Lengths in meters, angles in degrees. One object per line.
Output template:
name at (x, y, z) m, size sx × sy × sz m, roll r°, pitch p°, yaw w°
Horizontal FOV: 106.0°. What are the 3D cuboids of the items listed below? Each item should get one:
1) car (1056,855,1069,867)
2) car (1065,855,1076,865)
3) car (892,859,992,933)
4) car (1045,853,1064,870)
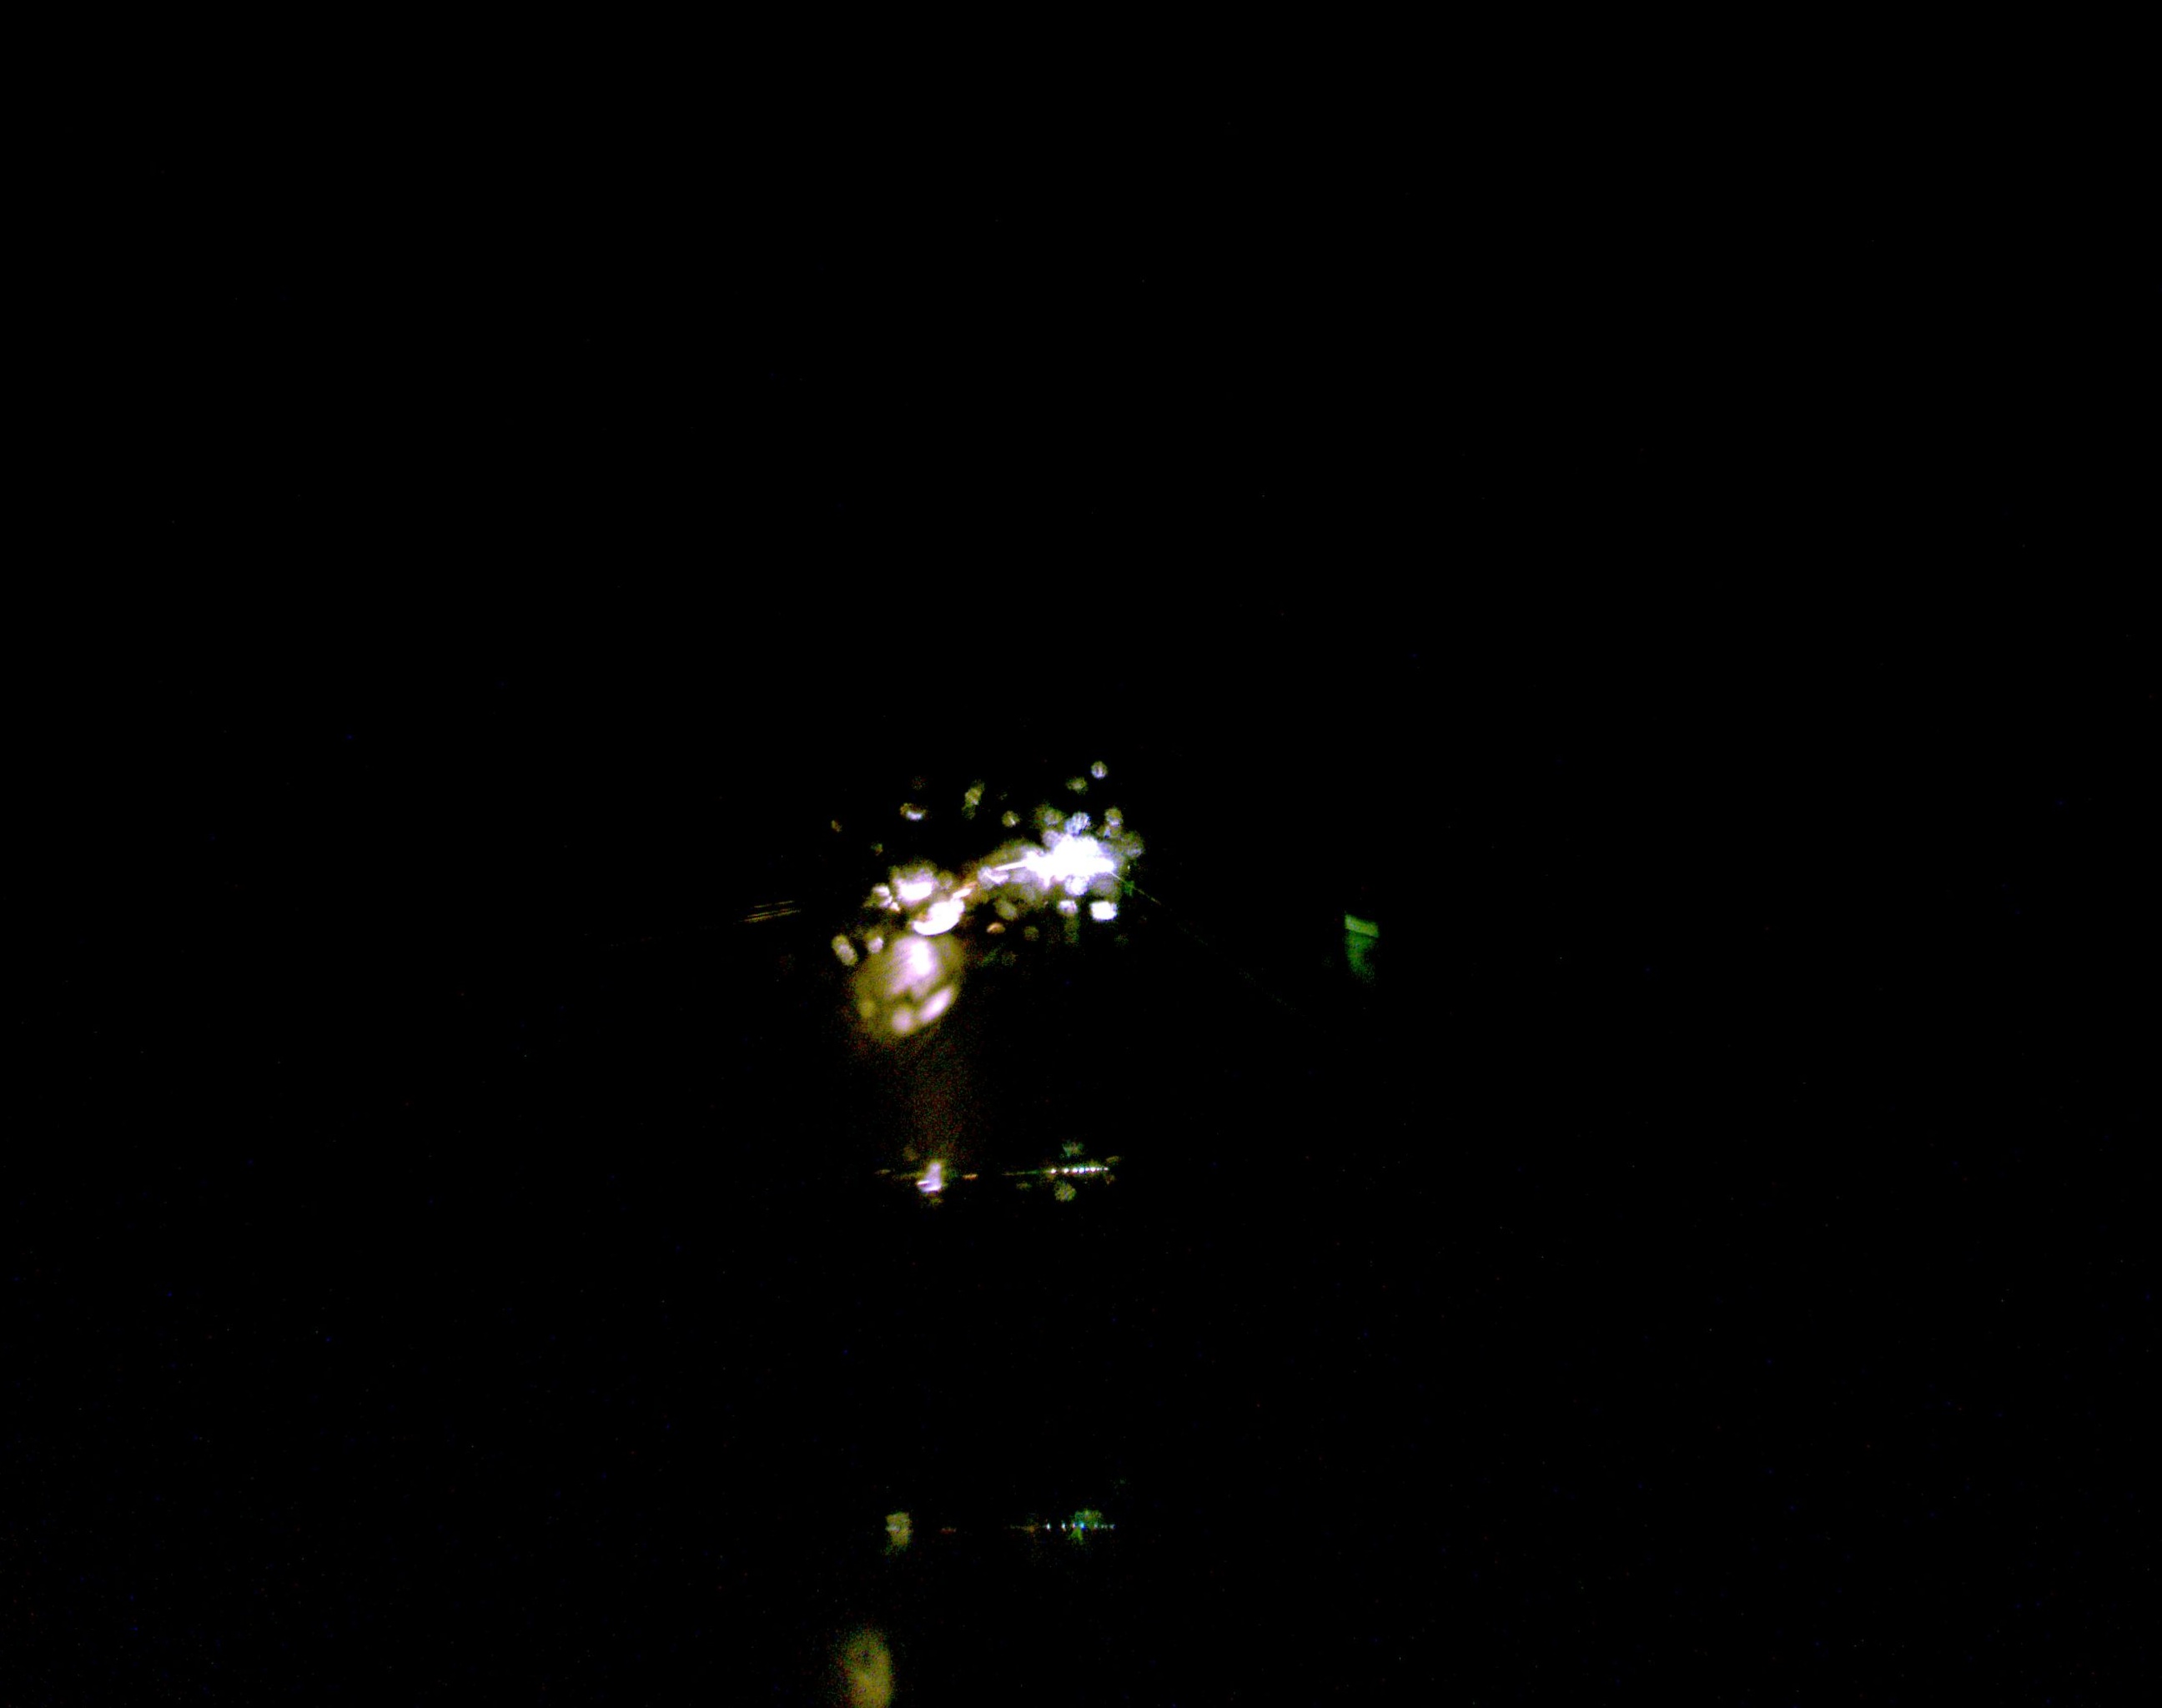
car at (-2.439, 0.945, 109.719) m, size 1.639 × 1.425 × 3.658 m, roll 2°, pitch 0°, yaw -1°
car at (-1.737, 0.980, 128.992) m, size 1.640 × 1.425 × 4.121 m, roll 2°, pitch 0°, yaw -1°
car at (-3.358, 0.970, 20.415) m, size 1.715 × 1.613 × 4.003 m, roll -1°, pitch 0°, yaw 1°
car at (-2.638, 0.751, 82.103) m, size 1.802 × 1.600 × 4.631 m, roll 0°, pitch 0°, yaw 0°
